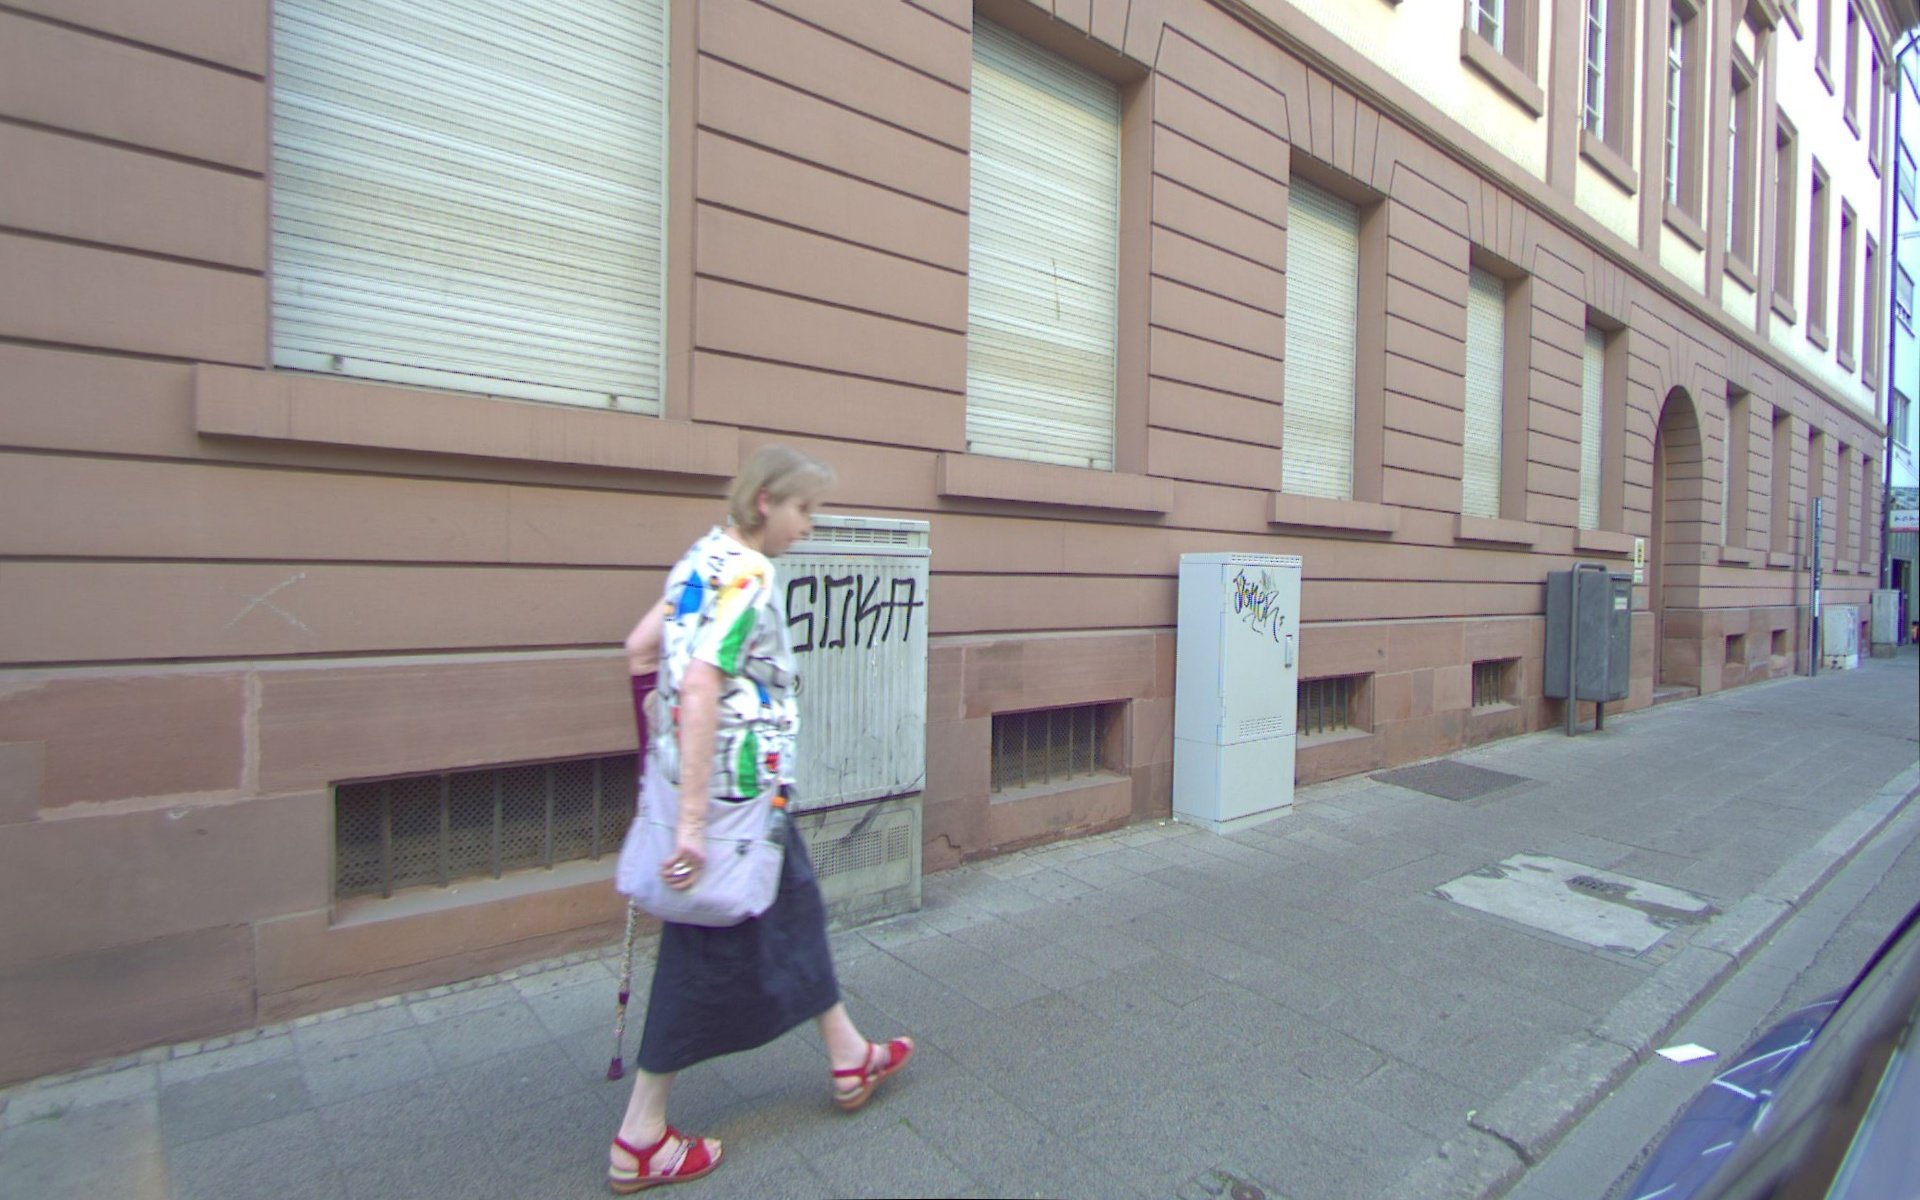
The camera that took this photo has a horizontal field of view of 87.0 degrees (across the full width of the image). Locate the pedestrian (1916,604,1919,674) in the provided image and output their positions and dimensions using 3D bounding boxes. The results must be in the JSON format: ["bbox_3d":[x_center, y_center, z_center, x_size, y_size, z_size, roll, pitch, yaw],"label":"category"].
[{"bbox_3d":[25.241,1.025,26.210,0.592,1.794,0.639,0,1,-45],"label":"pedestrian"}]

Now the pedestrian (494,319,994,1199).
[{"bbox_3d":[-0.569,0.359,2.488,0.880,1.824,0.849,0,5,-35],"label":"pedestrian"}]
